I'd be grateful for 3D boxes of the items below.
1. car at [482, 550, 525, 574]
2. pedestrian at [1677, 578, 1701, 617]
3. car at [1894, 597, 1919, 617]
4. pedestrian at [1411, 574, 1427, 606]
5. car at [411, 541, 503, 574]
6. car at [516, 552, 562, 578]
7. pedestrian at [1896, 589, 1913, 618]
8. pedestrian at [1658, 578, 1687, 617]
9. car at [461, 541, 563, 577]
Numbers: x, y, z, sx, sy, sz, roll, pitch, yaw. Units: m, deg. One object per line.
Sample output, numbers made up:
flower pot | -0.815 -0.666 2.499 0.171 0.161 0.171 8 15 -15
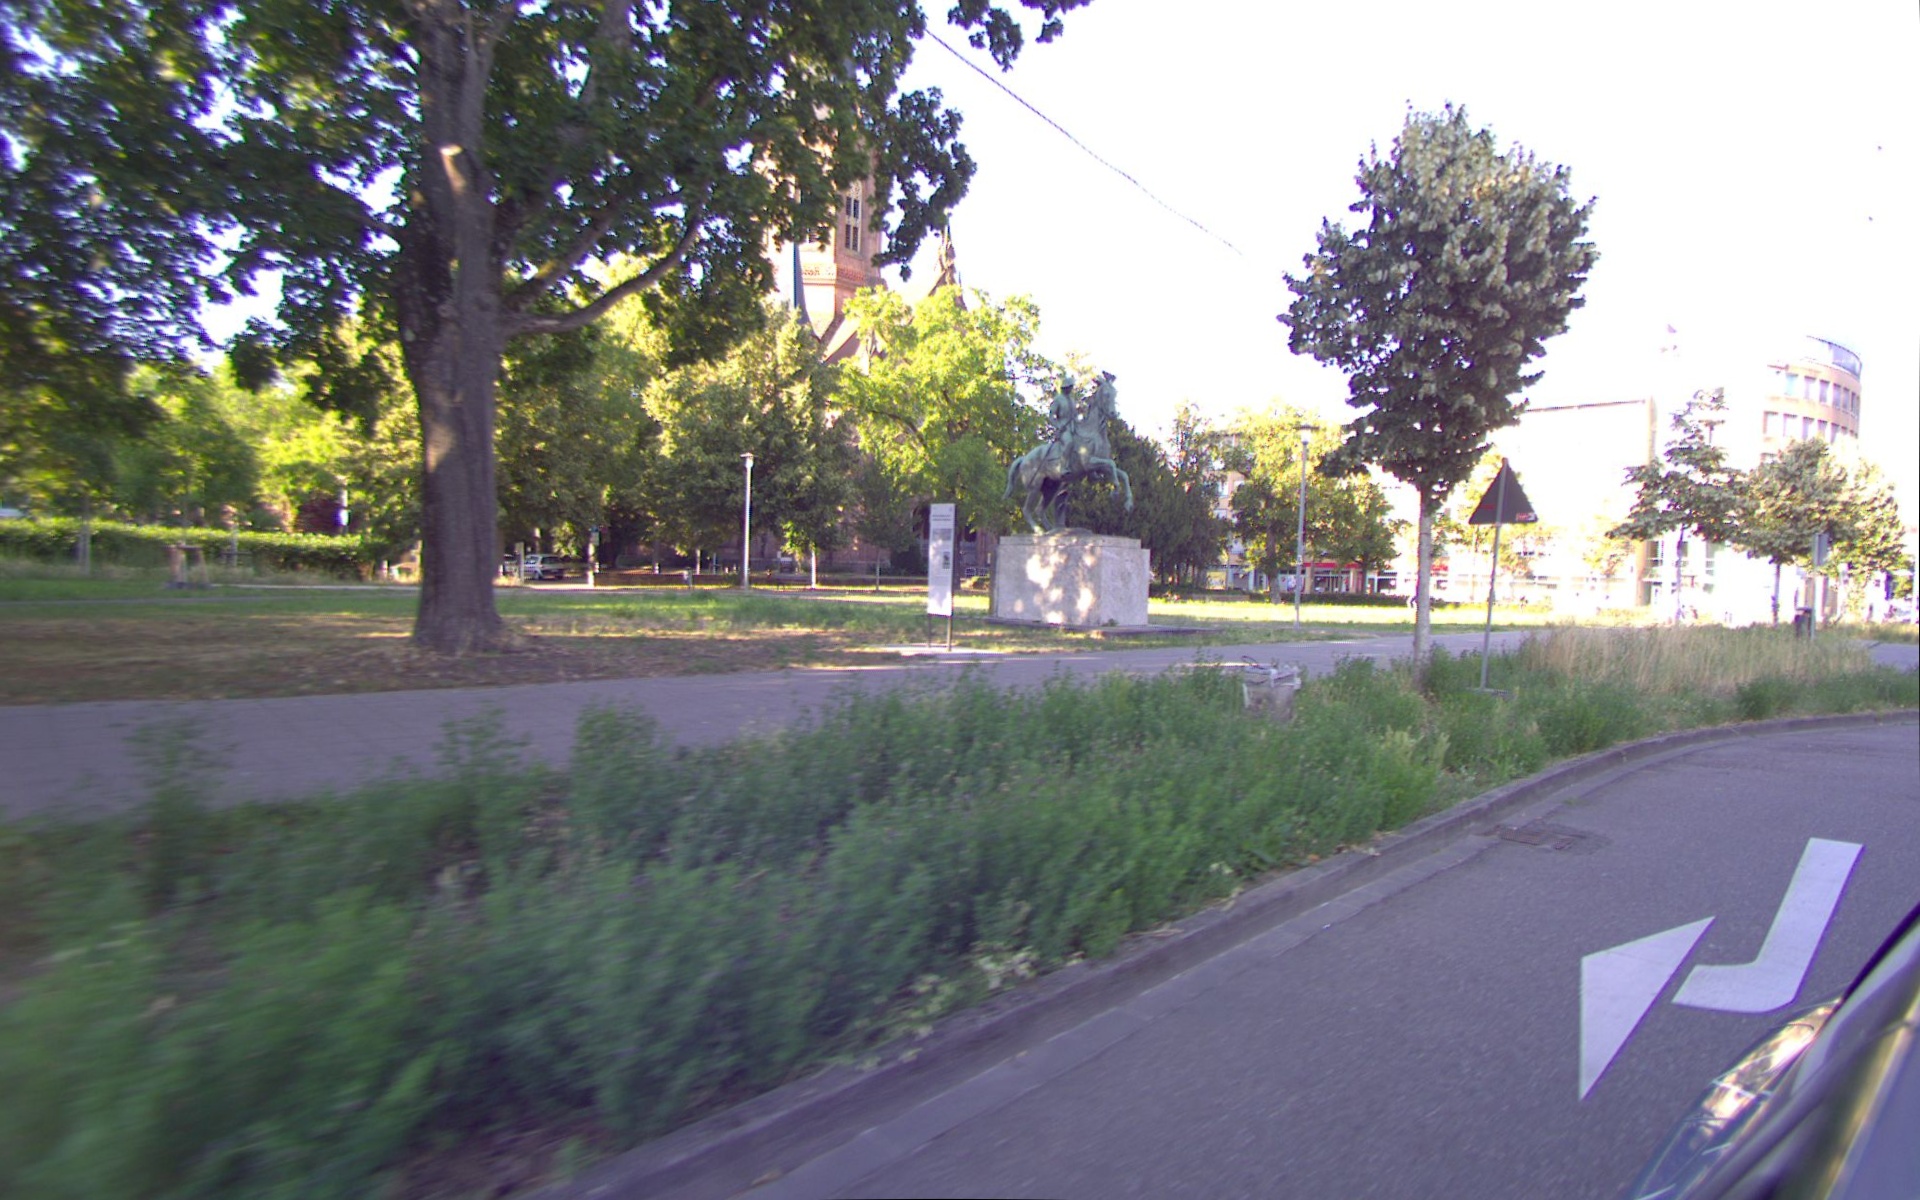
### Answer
car | -31.044 -2.570 68.699 1.600 1.528 4.154 1 2 -40
pedestrian | 32.990 -0.103 45.819 0.768 1.709 0.599 1 3 -40
car | 75.202 0.537 80.119 1.766 1.491 3.949 1 1 45
pedestrian | 25.554 -0.550 56.311 0.633 1.760 0.594 2 1 13
car | -27.373 -2.294 55.134 1.866 1.650 4.092 4 3 44
car | -26.877 -2.233 64.532 1.569 1.529 4.153 0 1 -40
pedestrian | 57.439 0.196 61.531 0.702 1.746 0.650 1 1 -42
pedestrian | 31.778 -0.113 45.126 0.899 1.669 0.741 1 4 -40
car | -23.821 -2.158 53.970 1.991 1.739 4.573 4 3 39
